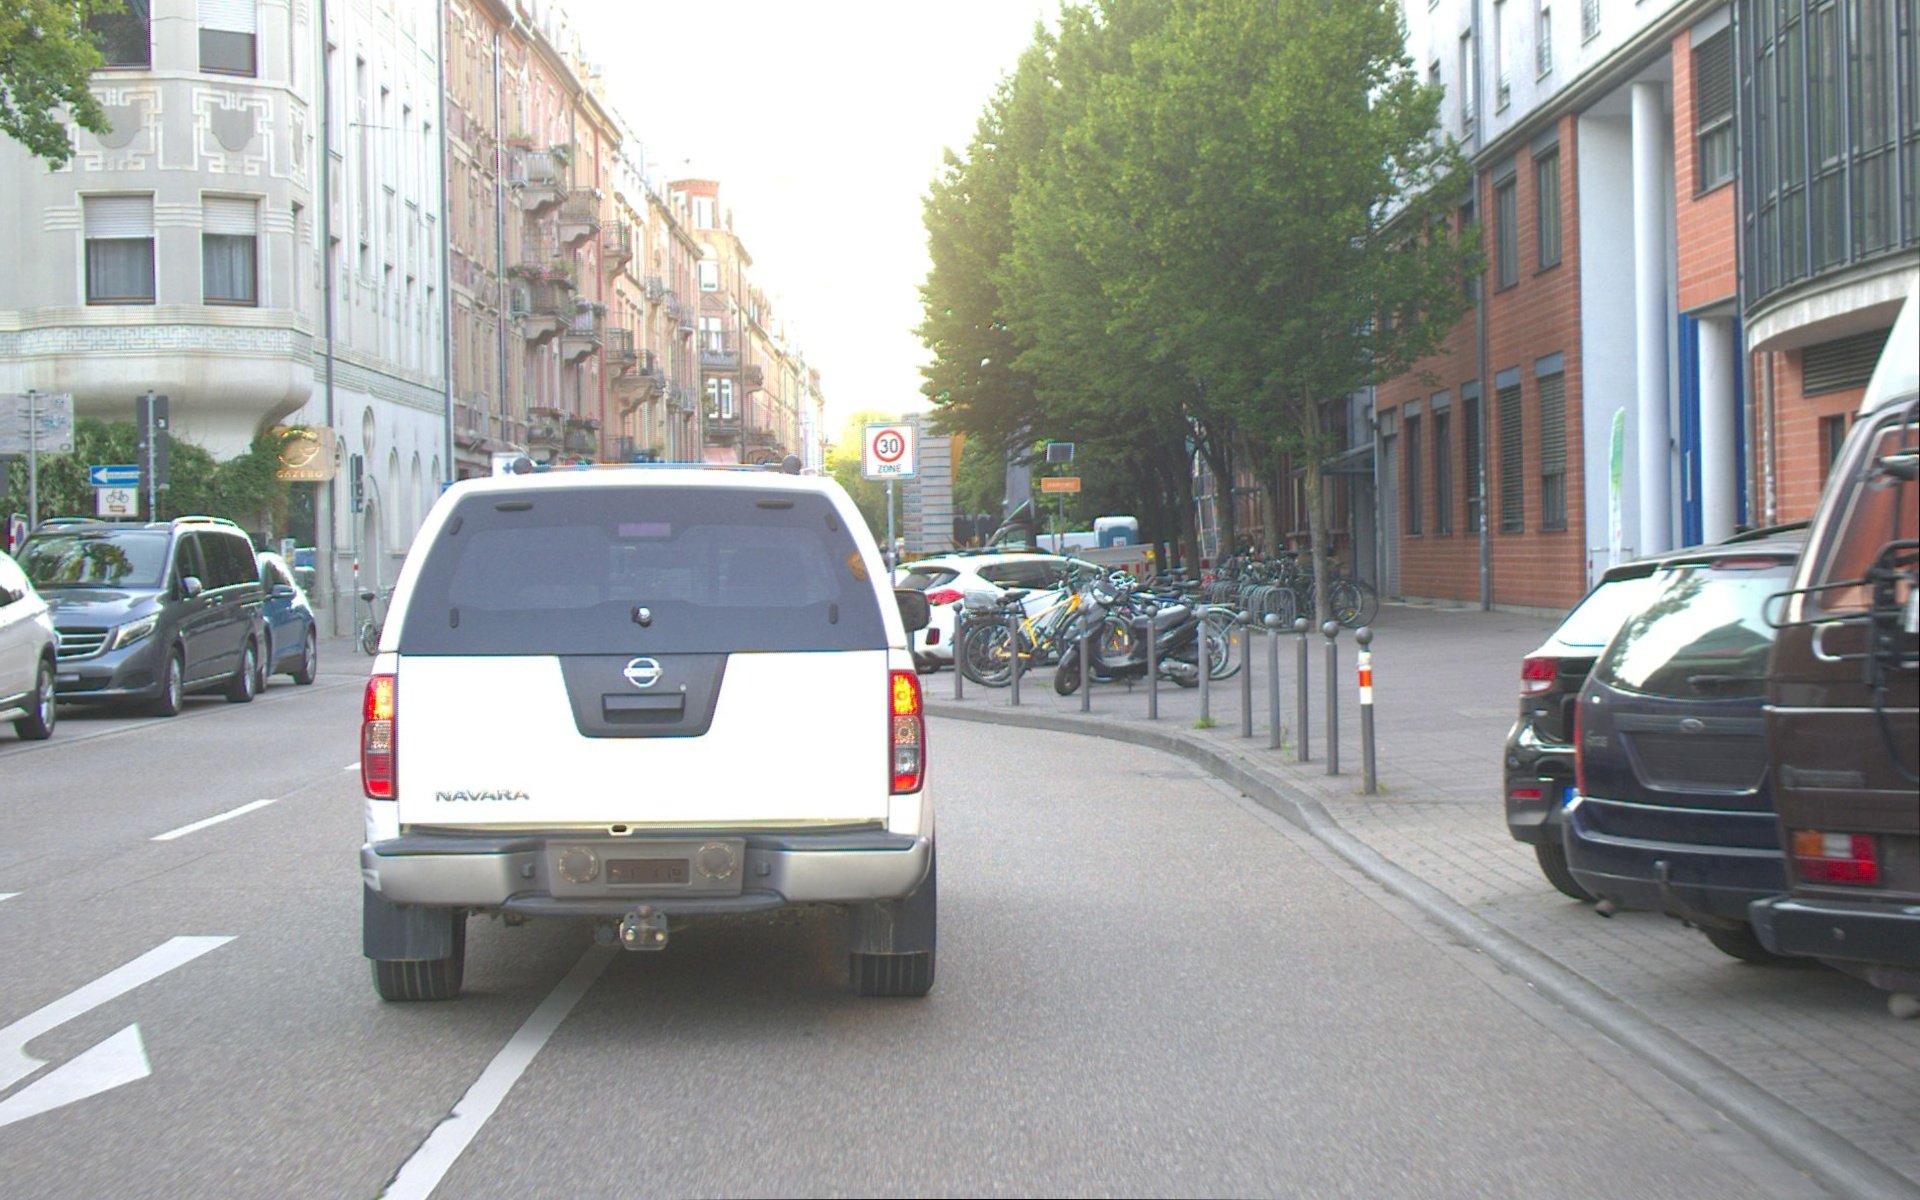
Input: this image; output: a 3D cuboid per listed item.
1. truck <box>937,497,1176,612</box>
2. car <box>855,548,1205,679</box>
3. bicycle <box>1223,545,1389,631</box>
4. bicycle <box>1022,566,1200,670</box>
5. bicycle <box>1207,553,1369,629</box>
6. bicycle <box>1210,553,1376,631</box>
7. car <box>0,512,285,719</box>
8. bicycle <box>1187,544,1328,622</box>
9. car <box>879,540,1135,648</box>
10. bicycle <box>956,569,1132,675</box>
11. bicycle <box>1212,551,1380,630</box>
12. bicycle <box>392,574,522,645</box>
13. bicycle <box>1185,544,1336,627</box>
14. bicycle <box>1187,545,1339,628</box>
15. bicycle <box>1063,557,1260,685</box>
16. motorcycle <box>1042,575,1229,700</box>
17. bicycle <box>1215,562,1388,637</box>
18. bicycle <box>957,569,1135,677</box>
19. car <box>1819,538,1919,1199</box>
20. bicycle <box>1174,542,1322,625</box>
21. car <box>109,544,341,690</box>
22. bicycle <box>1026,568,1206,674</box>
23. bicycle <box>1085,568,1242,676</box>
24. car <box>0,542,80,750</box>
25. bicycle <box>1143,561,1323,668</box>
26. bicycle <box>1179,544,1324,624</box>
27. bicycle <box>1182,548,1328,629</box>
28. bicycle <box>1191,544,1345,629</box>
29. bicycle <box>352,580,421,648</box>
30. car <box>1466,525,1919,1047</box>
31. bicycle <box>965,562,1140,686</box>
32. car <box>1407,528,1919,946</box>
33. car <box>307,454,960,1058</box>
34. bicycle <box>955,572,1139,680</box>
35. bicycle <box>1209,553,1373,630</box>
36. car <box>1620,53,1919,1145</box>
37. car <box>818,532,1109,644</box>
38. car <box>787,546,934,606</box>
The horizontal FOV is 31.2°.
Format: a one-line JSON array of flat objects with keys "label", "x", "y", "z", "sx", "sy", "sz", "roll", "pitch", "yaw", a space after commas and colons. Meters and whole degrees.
[{"label": "truck", "x": 2.577, "y": -1.212, "z": 92.321, "sx": 6.320, "sy": 2.966, "sz": 2.264, "roll": 0, "pitch": -2, "yaw": 1}, {"label": "car", "x": 0.883, "y": 0.150, "z": 42.873, "sx": 3.987, "sy": 1.501, "sz": 1.770, "roll": -2, "pitch": 1, "yaw": -29}, {"label": "bicycle", "x": 5.144, "y": -0.184, "z": 51.157, "sx": 2.346, "sy": 1.095, "sz": 0.680, "roll": -4, "pitch": 0, "yaw": 2}, {"label": "bicycle", "x": 1.689, "y": 0.196, "z": 38.525, "sx": 1.911, "sy": 1.062, "sz": 0.524, "roll": -3, "pitch": 1, "yaw": -2}, {"label": "bicycle", "x": 5.228, "y": -0.141, "z": 54.871, "sx": 2.534, "sy": 1.162, "sz": 0.562, "roll": -1, "pitch": 1, "yaw": 2}, {"label": "bicycle", "x": 5.192, "y": -0.127, "z": 53.645, "sx": 2.534, "sy": 1.162, "sz": 0.562, "roll": -1, "pitch": 1, "yaw": 2}, {"label": "car", "x": -8.220, "y": 0.106, "z": 33.869, "sx": 1.993, "sy": 1.860, "sz": 5.289, "roll": -1, "pitch": 1, "yaw": 1}, {"label": "bicycle", "x": 5.475, "y": -0.311, "z": 63.297, "sx": 2.534, "sy": 1.375, "sz": 0.599, "roll": -1, "pitch": 1, "yaw": 2}, {"label": "car", "x": 0.742, "y": -0.107, "z": 53.480, "sx": 3.594, "sy": 1.575, "sz": 1.716, "roll": -2, "pitch": 1, "yaw": -33}, {"label": "bicycle", "x": 0.918, "y": 0.236, "z": 37.792, "sx": 1.857, "sy": 1.062, "sz": 0.446, "roll": -3, "pitch": 1, "yaw": -2}, {"label": "bicycle", "x": 5.168, "y": -0.144, "z": 52.987, "sx": 2.534, "sy": 1.162, "sz": 0.562, "roll": -1, "pitch": 1, "yaw": 2}, {"label": "bicycle", "x": -8.025, "y": 0.144, "z": 54.805, "sx": 2.113, "sy": 1.091, "sz": 0.500, "roll": 0, "pitch": 2, "yaw": 25}, {"label": "bicycle", "x": 5.177, "y": -0.246, "z": 59.271, "sx": 2.534, "sy": 1.375, "sz": 0.599, "roll": -1, "pitch": 1, "yaw": 2}, {"label": "bicycle", "x": 5.150, "y": -0.232, "z": 58.589, "sx": 2.534, "sy": 1.375, "sz": 0.599, "roll": -1, "pitch": 1, "yaw": 2}, {"label": "bicycle", "x": 2.009, "y": 0.205, "z": 34.438, "sx": 1.859, "sy": 1.142, "sz": 0.659, "roll": -4, "pitch": 1, "yaw": 0}, {"label": "motorcycle", "x": 1.688, "y": 0.354, "z": 33.110, "sx": 1.644, "sy": 1.098, "sz": 0.647, "roll": -3, "pitch": 1, "yaw": -9}, {"label": "bicycle", "x": 5.193, "y": -0.007, "z": 52.367, "sx": 2.534, "sy": 0.956, "sz": 0.680, "roll": -4, "pitch": 0, "yaw": 2}, {"label": "bicycle", "x": 0.924, "y": 0.246, "z": 37.259, "sx": 1.857, "sy": 1.062, "sz": 0.446, "roll": -3, "pitch": 1, "yaw": -2}, {"label": "car", "x": 3.879, "y": 0.499, "z": 6.276, "sx": 4.385, "sy": 1.481, "sz": 1.844, "roll": -4, "pitch": 1, "yaw": -31}, {"label": "bicycle", "x": 5.203, "y": -0.298, "z": 62.184, "sx": 2.535, "sy": 1.240, "sz": 0.599, "roll": -6, "pitch": 0, "yaw": 2}, {"label": "car", "x": -8.272, "y": 0.153, "z": 39.001, "sx": 1.640, "sy": 1.550, "sz": 4.004, "roll": -1, "pitch": 1, "yaw": 2}, {"label": "bicycle", "x": 1.664, "y": 0.220, "z": 36.840, "sx": 1.857, "sy": 1.035, "sz": 0.402, "roll": -3, "pitch": 1, "yaw": -2}, {"label": "bicycle", "x": 2.100, "y": 0.220, "z": 35.583, "sx": 1.539, "sy": 1.035, "sz": 0.472, "roll": -3, "pitch": 1, "yaw": -2}, {"label": "car", "x": -8.304, "y": 0.362, "z": 26.750, "sx": 1.871, "sy": 1.586, "sz": 4.469, "roll": -1, "pitch": 1, "yaw": -2}, {"label": "bicycle", "x": 2.968, "y": 0.155, "z": 37.463, "sx": 1.857, "sy": 1.062, "sz": 0.524, "roll": -3, "pitch": 1, "yaw": -2}, {"label": "bicycle", "x": 5.206, "y": -0.291, "z": 61.516, "sx": 2.534, "sy": 1.375, "sz": 0.599, "roll": -1, "pitch": 1, "yaw": 2}, {"label": "bicycle", "x": 5.213, "y": -0.207, "z": 60.838, "sx": 2.534, "sy": 1.375, "sz": 0.599, "roll": -1, "pitch": 1, "yaw": 2}, {"label": "bicycle", "x": 5.181, "y": -0.225, "z": 57.875, "sx": 2.534, "sy": 1.375, "sz": 0.599, "roll": -1, "pitch": 1, "yaw": 2}, {"label": "bicycle", "x": -8.990, "y": 0.210, "z": 53.905, "sx": 0.423, "sy": 1.009, "sz": 1.717, "roll": 0, "pitch": 2, "yaw": 13}, {"label": "car", "x": 4.077, "y": 0.484, "z": 11.727, "sx": 4.342, "sy": 1.497, "sz": 1.913, "roll": -1, "pitch": 1, "yaw": -28}, {"label": "bicycle", "x": 0.939, "y": 0.238, "z": 35.030, "sx": 1.707, "sy": 1.172, "sz": 0.472, "roll": -3, "pitch": 1, "yaw": -2}, {"label": "car", "x": 3.988, "y": 0.450, "z": 14.107, "sx": 4.056, "sy": 1.487, "sz": 1.724, "roll": -2, "pitch": 1, "yaw": -31}, {"label": "car", "x": -1.011, "y": 0.422, "z": 12.542, "sx": 1.933, "sy": 1.788, "sz": 4.622, "roll": 0, "pitch": 1, "yaw": -1}, {"label": "bicycle", "x": 0.906, "y": 0.265, "z": 36.074, "sx": 1.857, "sy": 1.035, "sz": 0.472, "roll": -3, "pitch": 1, "yaw": -2}, {"label": "bicycle", "x": 5.217, "y": -0.129, "z": 54.260, "sx": 2.534, "sy": 1.162, "sz": 0.562, "roll": -1, "pitch": 1, "yaw": 2}, {"label": "car", "x": 4.254, "y": -0.044, "z": 9.198, "sx": 4.710, "sy": 2.538, "sz": 1.918, "roll": -1, "pitch": 0, "yaw": -29}, {"label": "car", "x": 0.068, "y": -0.197, "z": 50.678, "sx": 3.987, "sy": 1.532, "sz": 1.636, "roll": -2, "pitch": 1, "yaw": -31}, {"label": "car", "x": -2.969, "y": -0.713, "z": 102.682, "sx": 4.196, "sy": 1.774, "sz": 1.819, "roll": 0, "pitch": 1, "yaw": 6}]
